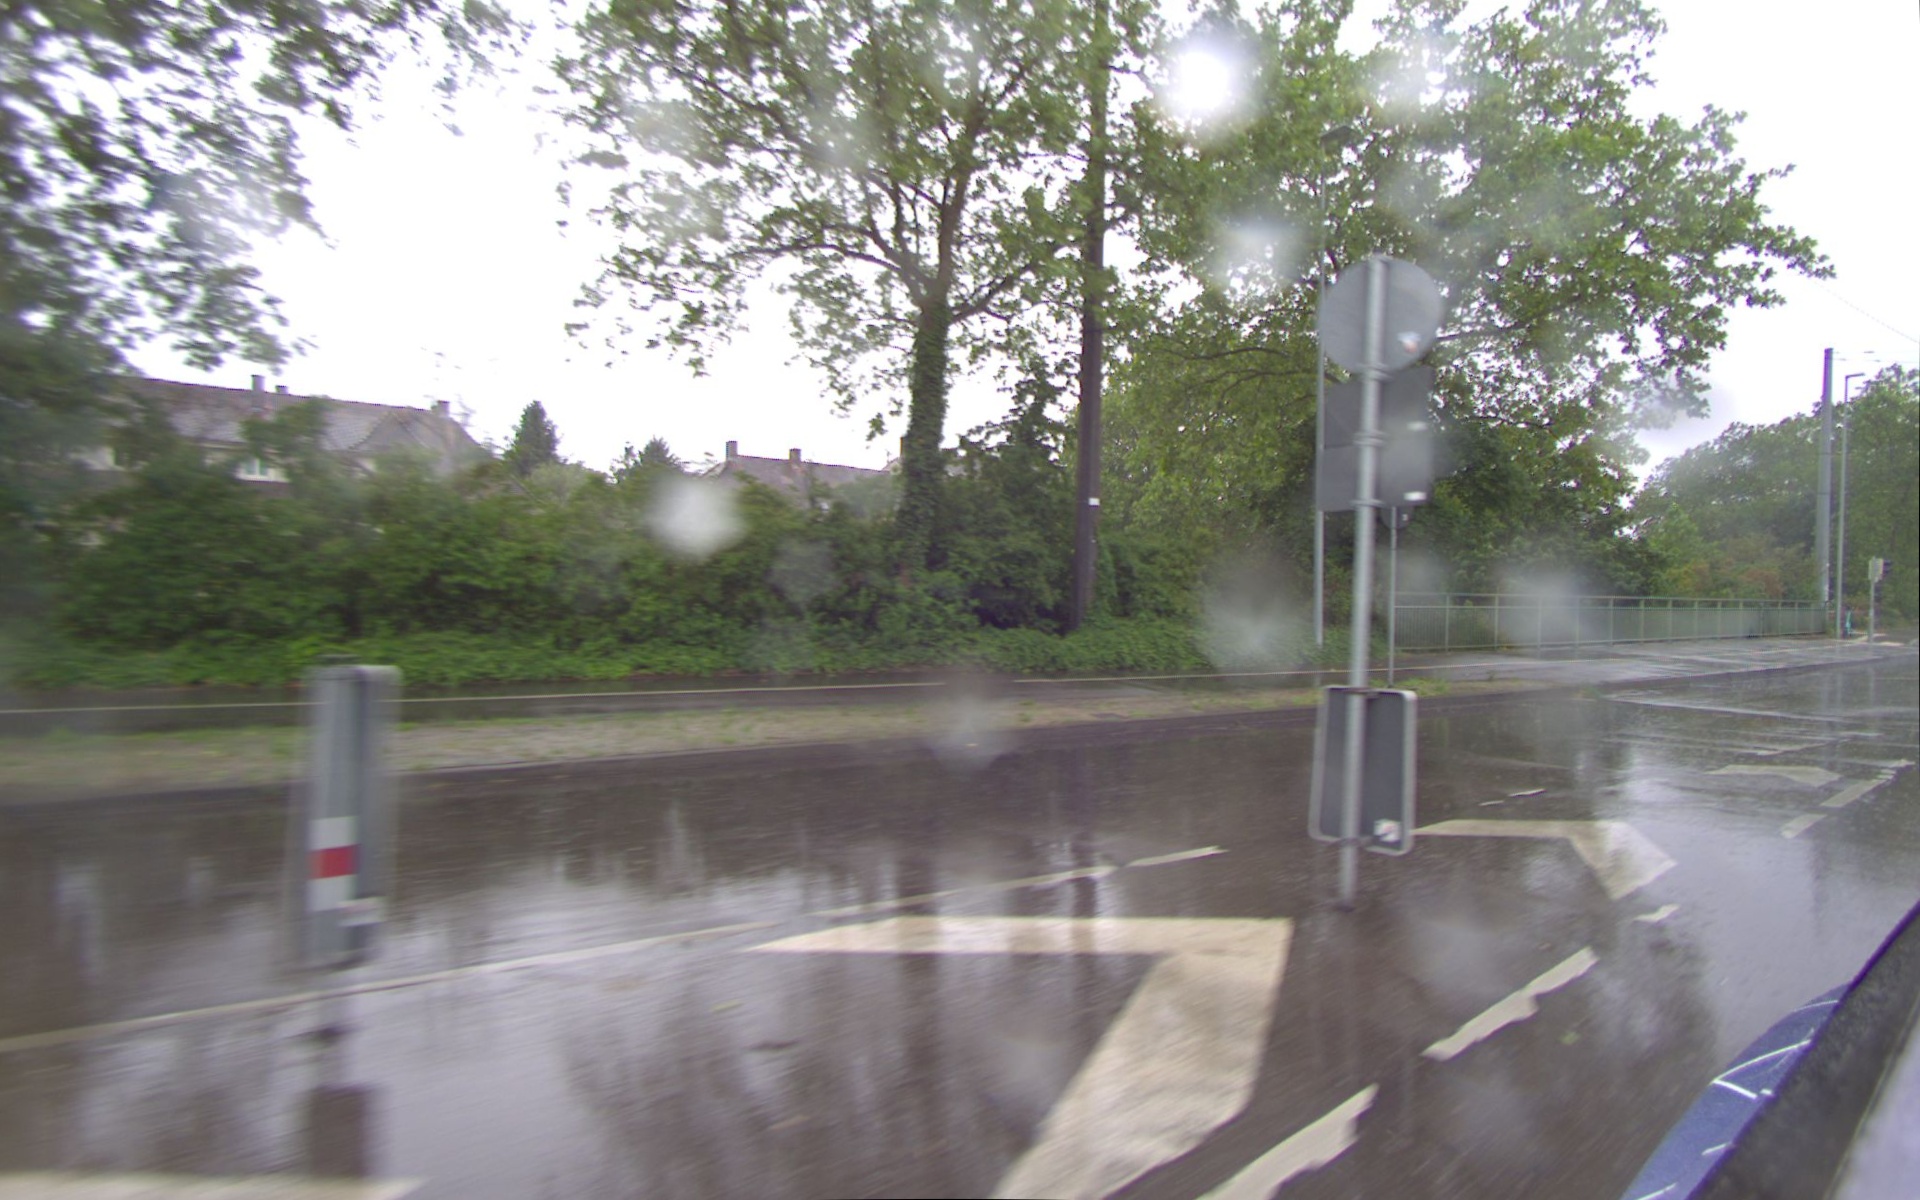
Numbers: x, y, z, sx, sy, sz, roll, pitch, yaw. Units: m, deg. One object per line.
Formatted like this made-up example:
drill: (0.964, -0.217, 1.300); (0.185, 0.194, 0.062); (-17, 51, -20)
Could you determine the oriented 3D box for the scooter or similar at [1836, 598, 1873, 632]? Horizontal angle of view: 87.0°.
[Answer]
scooter or similar: (35.591, 0.601, 40.255); (1.616, 1.309, 0.761); (0, 1, -36)
